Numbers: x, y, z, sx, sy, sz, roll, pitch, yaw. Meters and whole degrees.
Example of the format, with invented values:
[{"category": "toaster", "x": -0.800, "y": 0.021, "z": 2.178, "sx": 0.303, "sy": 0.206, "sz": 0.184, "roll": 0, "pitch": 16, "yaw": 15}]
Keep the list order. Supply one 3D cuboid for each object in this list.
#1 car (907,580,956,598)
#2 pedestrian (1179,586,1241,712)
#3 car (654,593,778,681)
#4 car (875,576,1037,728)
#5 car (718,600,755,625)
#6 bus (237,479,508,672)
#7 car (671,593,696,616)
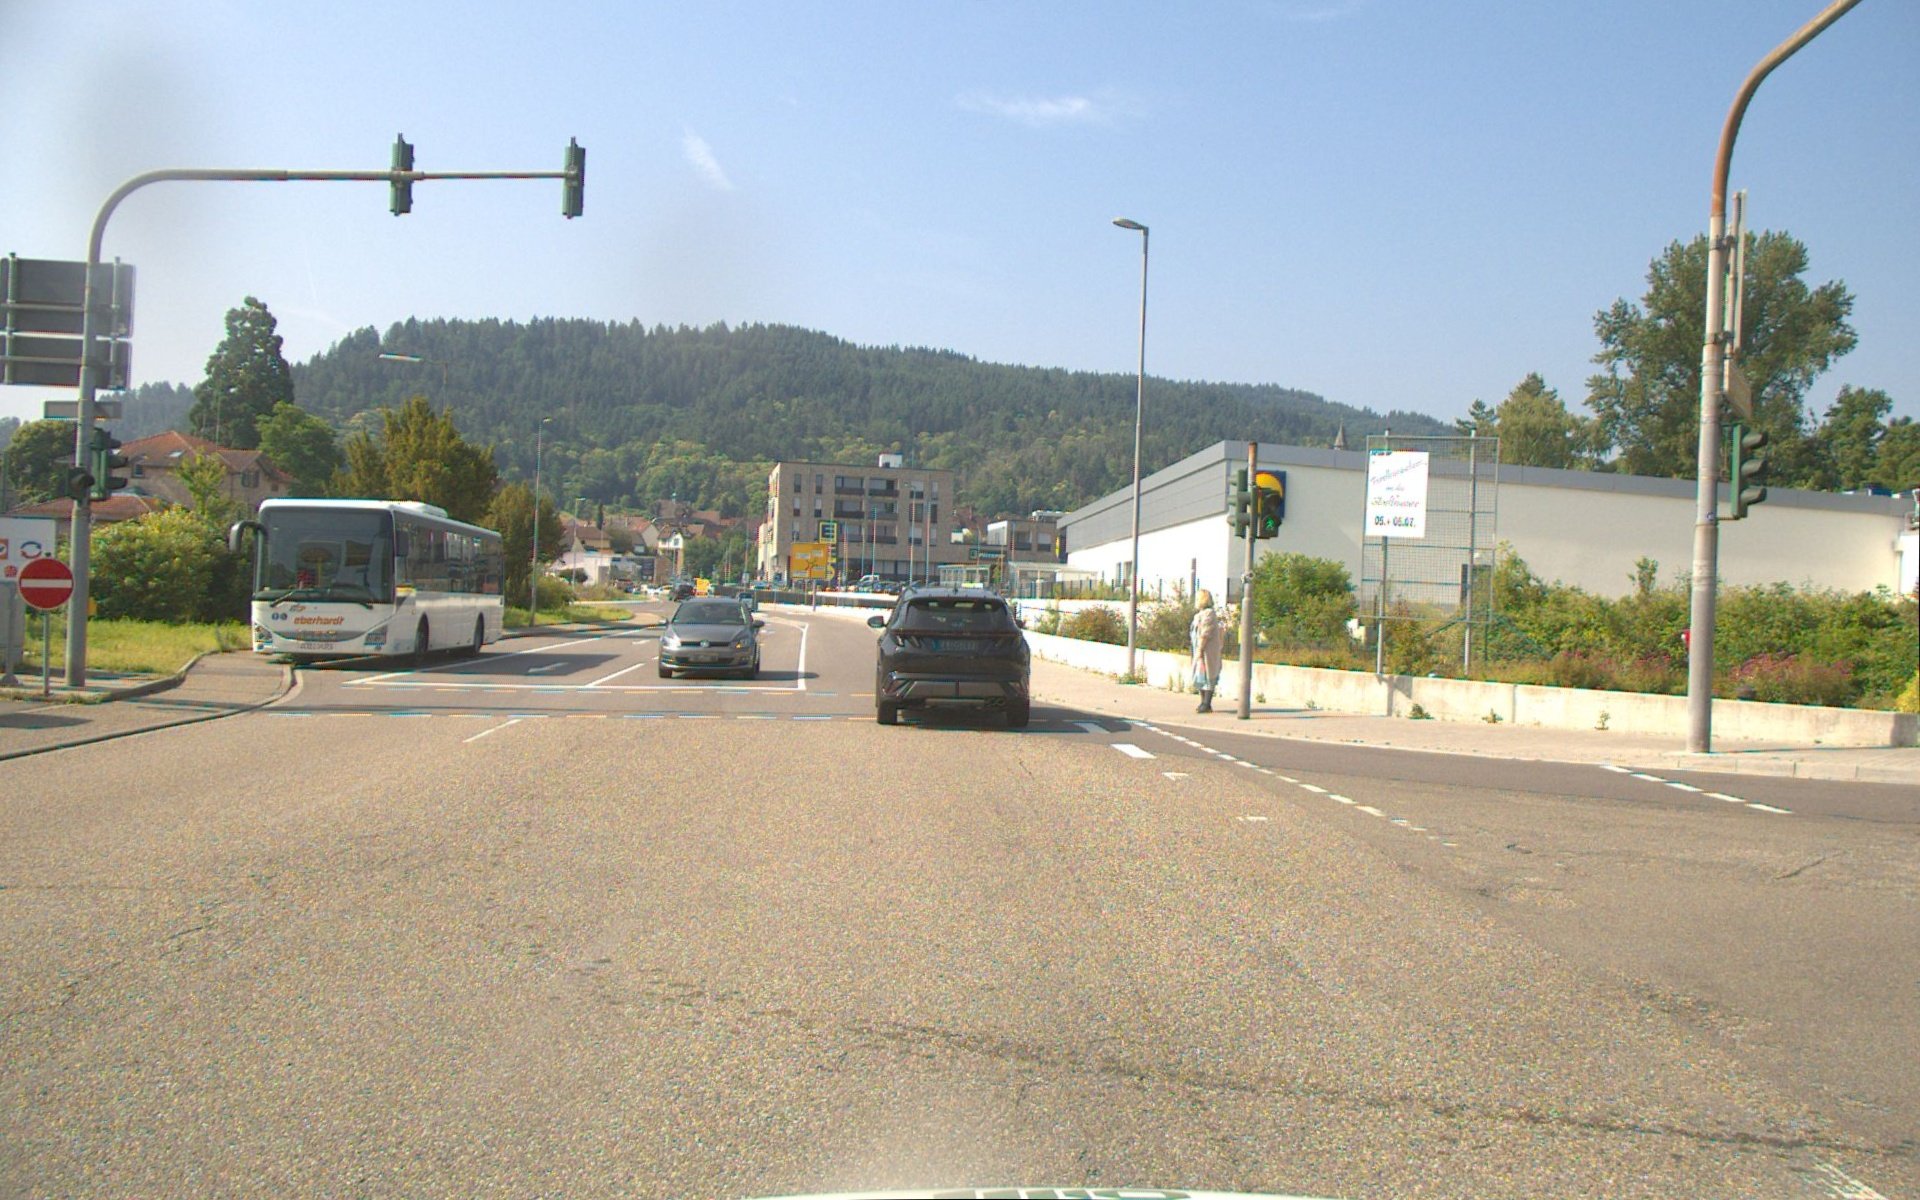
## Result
[{"category": "car", "x": -2.536, "y": -0.965, "z": 147.246, "sx": 4.008, "sy": 1.428, "sz": 1.475, "roll": 2, "pitch": 0, "yaw": -25}, {"category": "pedestrian", "x": 3.427, "y": 0.661, "z": 22.710, "sx": 0.696, "sy": 1.700, "sz": 0.592, "roll": 1, "pitch": -1, "yaw": -4}, {"category": "car", "x": -4.502, "y": 0.653, "z": 31.014, "sx": 1.736, "sy": 1.499, "sz": 4.219, "roll": 1, "pitch": 0, "yaw": -1}, {"category": "car", "x": -0.073, "y": 0.609, "z": 21.026, "sx": 1.843, "sy": 1.713, "sz": 3.999, "roll": 1, "pitch": 0, "yaw": -1}, {"category": "car", "x": -18.527, "y": 1.015, "z": 137.122, "sx": 1.968, "sy": 2.049, "sz": 3.970, "roll": 1, "pitch": 0, "yaw": -24}, {"category": "bus", "x": -11.978, "y": -0.409, "z": 35.140, "sx": 2.570, "sy": 3.368, "sz": 11.942, "roll": 1, "pitch": 0, "yaw": -6}, {"category": "car", "x": -25.235, "y": 0.426, "z": 150.801, "sx": 1.959, "sy": 2.049, "sz": 3.986, "roll": 1, "pitch": 0, "yaw": -13}]
